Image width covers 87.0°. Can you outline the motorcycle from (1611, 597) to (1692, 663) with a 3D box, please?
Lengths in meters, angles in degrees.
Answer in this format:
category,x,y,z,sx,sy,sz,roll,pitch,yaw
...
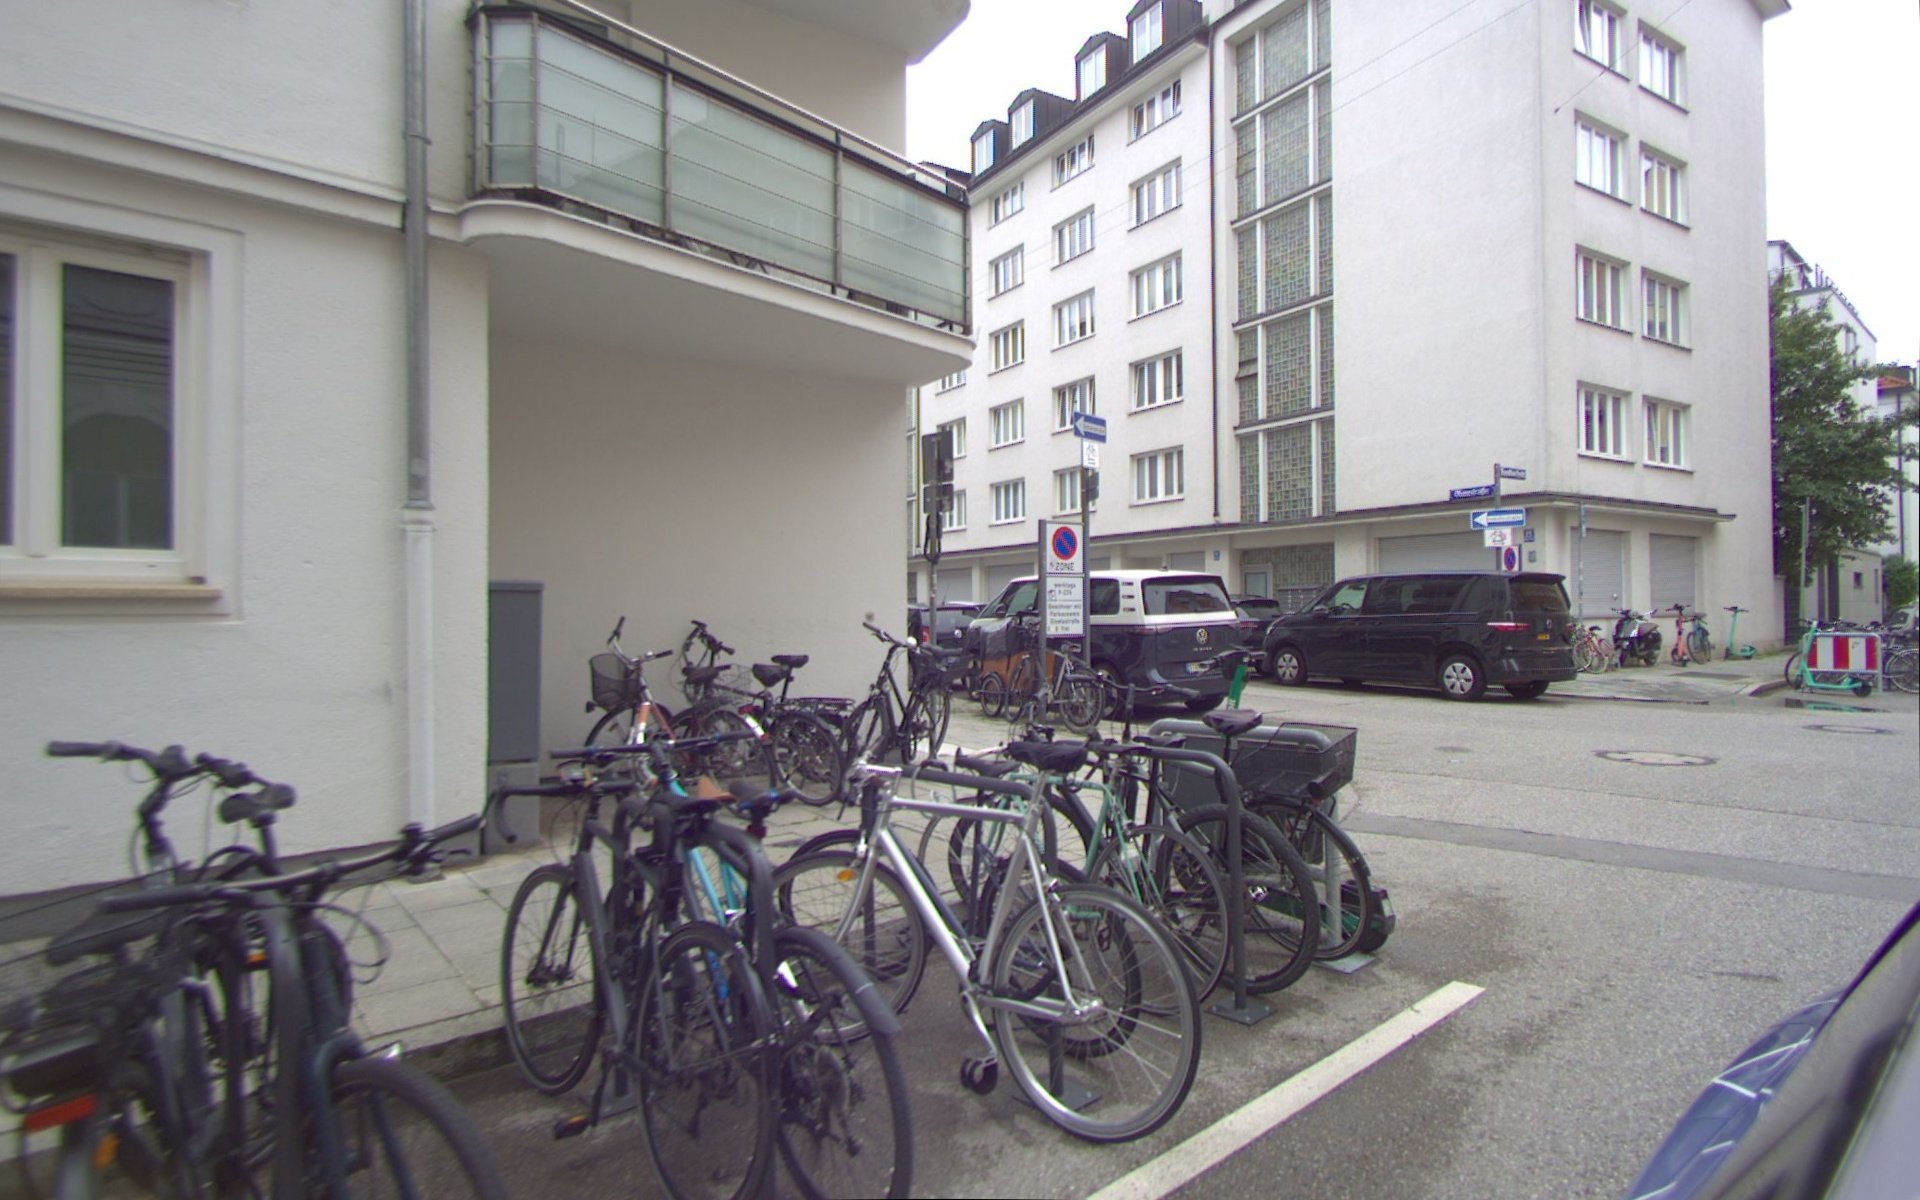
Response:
category,x,y,z,sx,sy,sz,roll,pitch,yaw
motorcycle,13.774,0.566,20.145,1.898,1.248,0.661,0,0,-33

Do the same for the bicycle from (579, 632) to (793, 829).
category,x,y,z,sx,sy,sz,roll,pitch,yaw
bicycle,-1.762,0.770,6.411,1.489,1.056,0.395,2,2,32

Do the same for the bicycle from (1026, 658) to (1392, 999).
category,x,y,z,sx,sy,sz,roll,pitch,yaw
bicycle,1.003,0.883,4.475,0.308,1.175,1.698,0,0,-41

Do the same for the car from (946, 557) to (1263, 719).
category,x,y,z,sx,sy,sz,roll,pitch,yaw
car,1.821,0.437,14.327,1.896,1.896,4.623,0,0,-32

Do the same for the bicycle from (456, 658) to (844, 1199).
category,x,y,z,sx,sy,sz,roll,pitch,yaw
bicycle,-0.958,0.790,2.802,0.372,1.175,1.698,0,0,-41

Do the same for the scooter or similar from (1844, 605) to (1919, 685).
category,x,y,z,sx,sy,sz,roll,pitch,yaw
scooter or similar,14.895,0.703,15.996,0.338,1.229,1.341,0,0,-38

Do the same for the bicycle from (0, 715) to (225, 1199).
category,x,y,z,sx,sy,sz,roll,pitch,yaw
bicycle,-1.795,0.875,2.086,0.353,1.056,1.523,0,2,-32

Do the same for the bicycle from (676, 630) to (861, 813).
category,x,y,z,sx,sy,sz,roll,pitch,yaw
bicycle,-1.294,0.767,6.765,1.285,1.056,0.395,2,2,32

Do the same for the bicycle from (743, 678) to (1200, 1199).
category,x,y,z,sx,sy,sz,roll,pitch,yaw
bicycle,-0.083,0.887,3.115,0.372,1.175,1.698,0,0,-41

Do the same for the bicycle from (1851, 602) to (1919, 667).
category,x,y,z,sx,sy,sz,roll,pitch,yaw
bicycle,18.316,0.654,19.526,0.519,1.229,1.608,0,0,-38

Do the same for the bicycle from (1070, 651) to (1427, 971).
category,x,y,z,sx,sy,sz,roll,pitch,yaw
bicycle,1.241,0.860,4.695,0.308,1.175,1.698,0,0,-41

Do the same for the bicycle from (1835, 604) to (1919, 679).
category,x,y,z,sx,sy,sz,roll,pitch,yaw
bicycle,15.848,0.689,17.040,0.519,1.229,1.608,0,0,-38

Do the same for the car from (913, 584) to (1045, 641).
category,x,y,z,sx,sy,sz,roll,pitch,yaw
car,0.449,0.323,28.521,1.707,1.484,4.215,0,0,-32

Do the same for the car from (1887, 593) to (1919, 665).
category,x,y,z,sx,sy,sz,roll,pitch,yaw
car,20.698,0.566,21.039,3.930,1.416,1.652,0,0,-41

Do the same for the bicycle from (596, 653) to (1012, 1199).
category,x,y,z,sx,sy,sz,roll,pitch,yaw
bicycle,-0.561,0.782,2.958,0.372,1.175,1.664,0,0,-41

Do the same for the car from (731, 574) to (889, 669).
category,x,y,z,sx,sy,sz,roll,pitch,yaw
car,-3.406,0.408,22.217,1.808,1.860,4.418,0,0,-32

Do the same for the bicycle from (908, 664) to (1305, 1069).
category,x,y,z,sx,sy,sz,roll,pitch,yaw
bicycle,0.467,0.884,3.943,0.372,1.175,1.698,0,0,-41

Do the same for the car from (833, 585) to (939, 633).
category,x,y,z,sx,sy,sz,roll,pitch,yaw
car,-2.528,0.272,33.593,1.707,1.484,4.215,0,0,-32

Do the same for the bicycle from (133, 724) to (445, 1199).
category,x,y,z,sx,sy,sz,roll,pitch,yaw
bicycle,-1.283,0.882,1.992,0.353,1.056,1.444,0,2,-32

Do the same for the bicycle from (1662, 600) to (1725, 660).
category,x,y,z,sx,sy,sz,roll,pitch,yaw
bicycle,15.451,0.608,21.305,1.578,1.229,0.529,0,0,-33

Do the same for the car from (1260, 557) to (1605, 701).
category,x,y,z,sx,sy,sz,roll,pitch,yaw
car,7.223,0.390,16.010,1.896,1.915,4.685,1,0,-32

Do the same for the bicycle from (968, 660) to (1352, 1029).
category,x,y,z,sx,sy,sz,roll,pitch,yaw
bicycle,0.736,0.880,4.230,0.372,1.175,1.698,0,0,-41

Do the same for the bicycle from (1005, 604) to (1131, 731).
category,x,y,z,sx,sy,sz,roll,pitch,yaw
bicycle,1.148,0.687,11.054,0.463,1.229,1.611,0,2,-32

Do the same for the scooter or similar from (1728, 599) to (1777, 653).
category,x,y,z,sx,sy,sz,roll,pitch,yaw
scooter or similar,17.985,0.570,22.956,1.464,1.181,0.407,0,0,-33

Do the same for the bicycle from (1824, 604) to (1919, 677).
category,x,y,z,sx,sy,sz,roll,pitch,yaw
bicycle,16.120,0.683,17.589,0.519,1.229,1.608,0,0,-38

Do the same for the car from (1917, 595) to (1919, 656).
category,x,y,z,sx,sy,sz,roll,pitch,yaw
car,24.347,0.574,24.253,3.930,1.416,1.652,0,0,-41

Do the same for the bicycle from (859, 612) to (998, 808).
category,x,y,z,sx,sy,sz,roll,pitch,yaw
bicycle,-0.190,0.728,7.365,0.395,1.219,1.494,1,2,24

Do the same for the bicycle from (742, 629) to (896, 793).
category,x,y,z,sx,sy,sz,roll,pitch,yaw
bicycle,-1.043,0.776,7.393,1.119,1.056,0.395,2,1,32

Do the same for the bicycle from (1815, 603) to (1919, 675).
category,x,y,z,sx,sy,sz,roll,pitch,yaw
bicycle,16.405,0.677,18.109,0.519,1.229,1.608,0,0,-38

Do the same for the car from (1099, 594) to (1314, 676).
category,x,y,z,sx,sy,sz,roll,pitch,yaw
car,4.833,0.625,20.419,1.707,1.484,4.215,0,0,-32

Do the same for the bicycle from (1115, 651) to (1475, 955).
category,x,y,z,sx,sy,sz,roll,pitch,yaw
bicycle,1.548,0.876,4.949,0.411,1.175,1.698,0,0,-41

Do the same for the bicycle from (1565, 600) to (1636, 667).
category,x,y,z,sx,sy,sz,roll,pitch,yaw
bicycle,12.166,0.611,19.217,1.578,1.229,0.529,0,0,-33

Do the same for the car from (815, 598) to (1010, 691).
category,x,y,z,sx,sy,sz,roll,pitch,yaw
car,-0.990,0.706,18.475,1.707,1.484,4.215,0,0,-32

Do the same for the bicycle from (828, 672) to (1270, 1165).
category,x,y,z,sx,sy,sz,roll,pitch,yaw
bicycle,0.186,0.884,3.404,0.372,1.175,1.698,0,0,-41
